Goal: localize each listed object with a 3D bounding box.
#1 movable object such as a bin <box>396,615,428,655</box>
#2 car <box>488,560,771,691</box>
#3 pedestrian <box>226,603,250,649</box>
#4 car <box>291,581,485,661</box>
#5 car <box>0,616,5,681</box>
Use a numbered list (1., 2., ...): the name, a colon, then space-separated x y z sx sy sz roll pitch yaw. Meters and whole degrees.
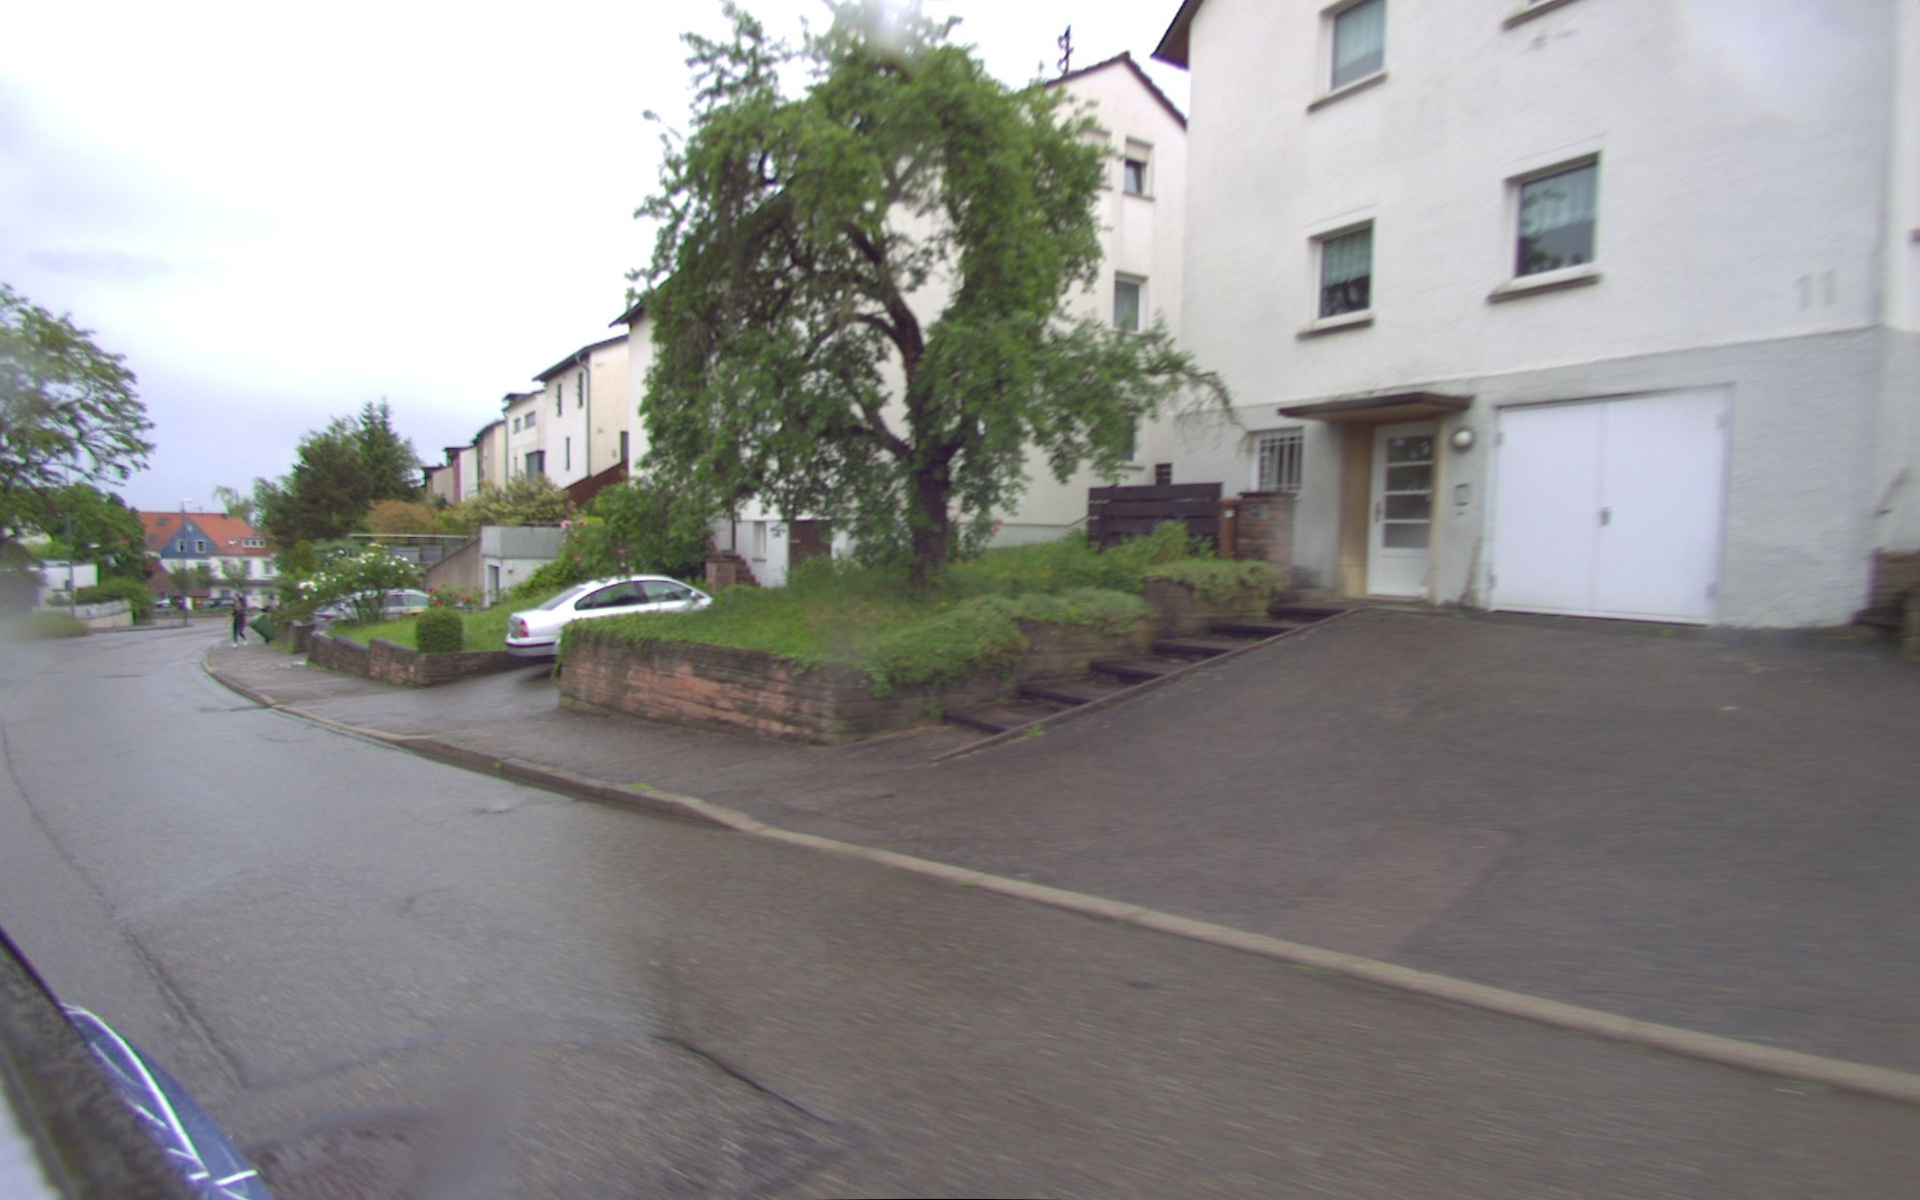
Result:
1. movable object such as a bin: -14.734 0.930 27.211 0.531 1.027 0.711 -7 3 -39
2. car: -5.669 0.346 17.520 4.198 1.441 1.771 -11 6 -32
3. pedestrian: -26.459 0.958 37.082 0.648 1.661 0.733 -1 -1 -41
4. car: -16.330 0.541 29.006 4.454 1.625 1.936 -9 5 -38
5. car: -21.023 1.054 20.771 1.835 1.388 4.187 -1 0 -41
